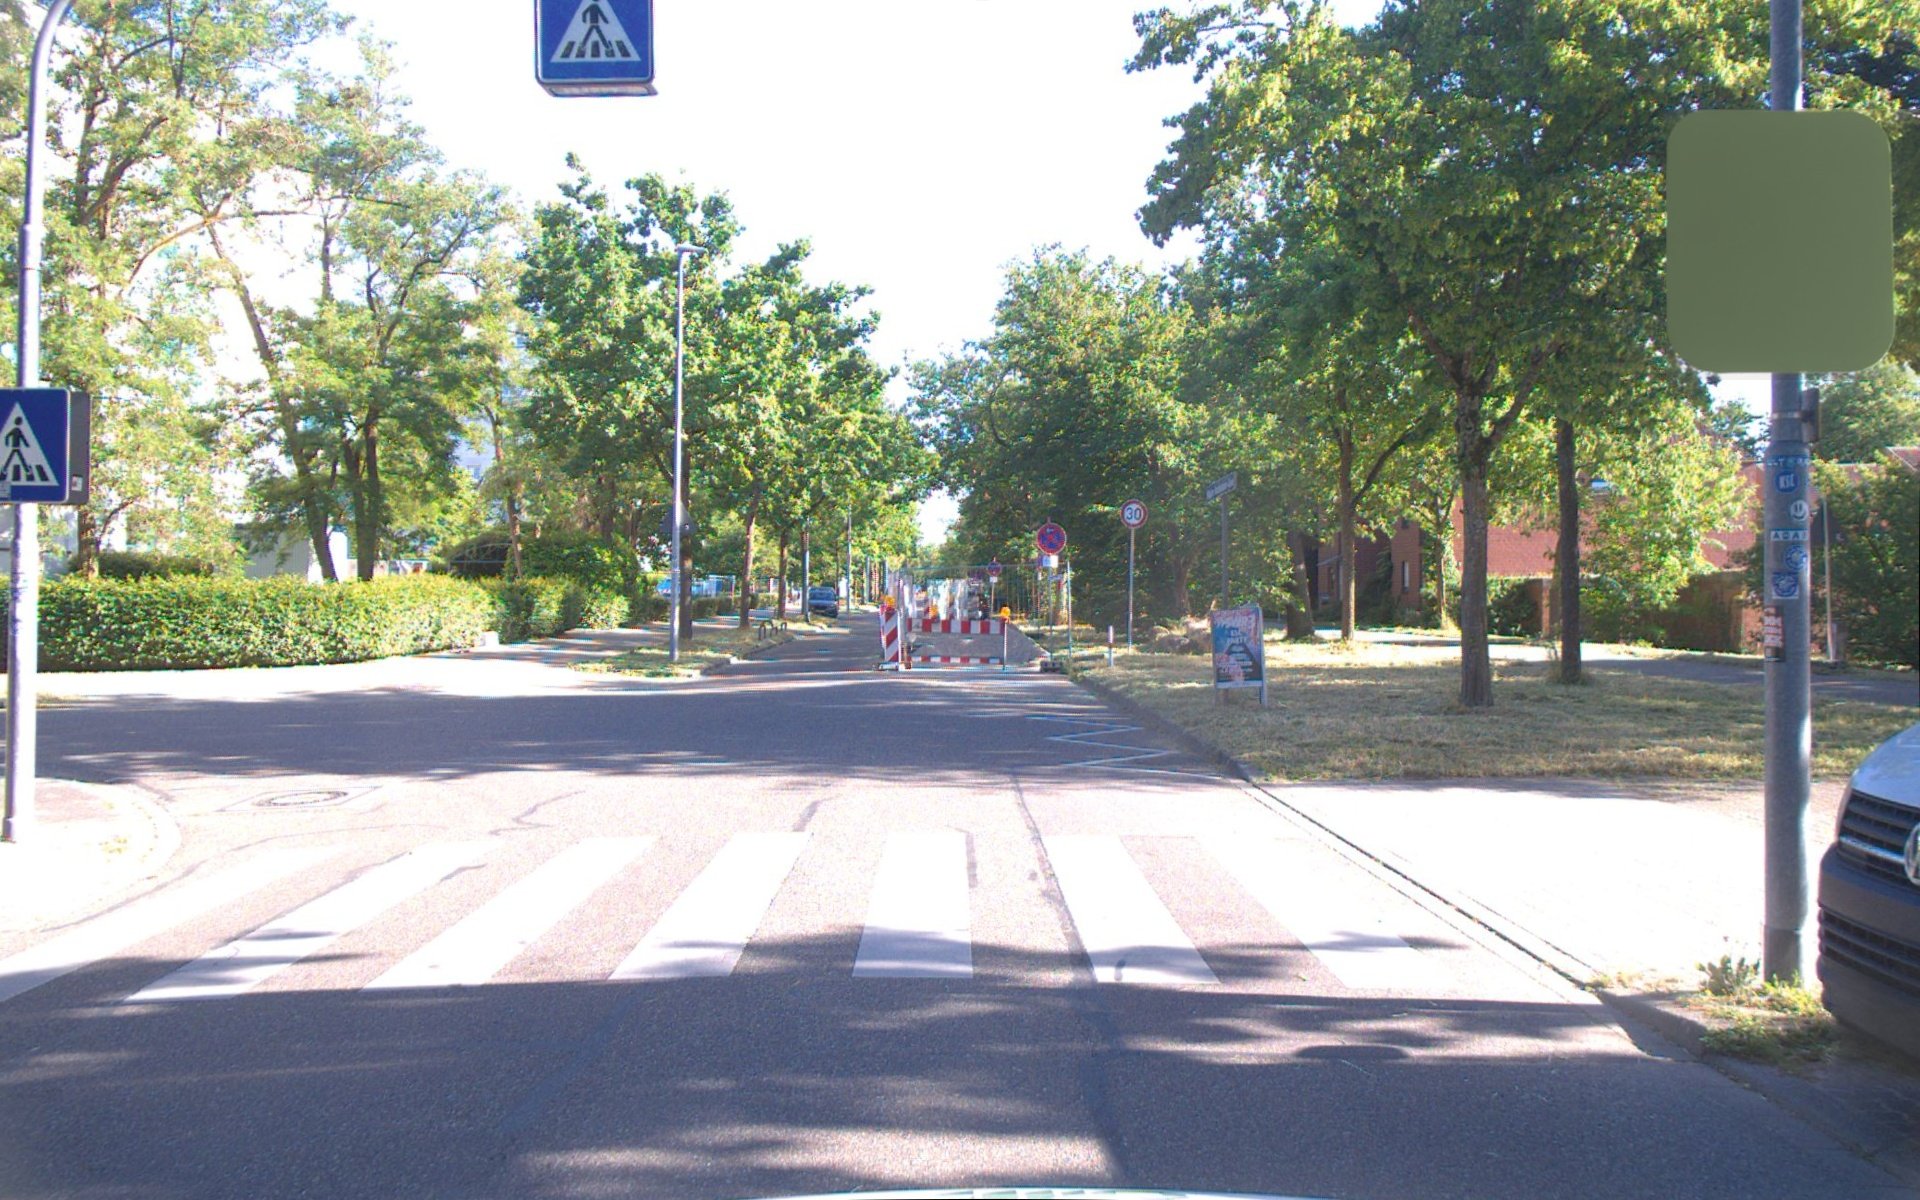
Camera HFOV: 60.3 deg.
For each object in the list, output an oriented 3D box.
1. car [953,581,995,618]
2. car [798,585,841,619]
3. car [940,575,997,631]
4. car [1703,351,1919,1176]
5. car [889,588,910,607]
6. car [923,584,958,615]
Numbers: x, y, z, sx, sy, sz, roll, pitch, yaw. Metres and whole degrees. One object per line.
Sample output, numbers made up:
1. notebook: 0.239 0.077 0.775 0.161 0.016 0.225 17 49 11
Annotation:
1. car: 0.662 -0.042 81.195 1.953 1.746 3.999 1 0 -1
2. car: -7.388 0.086 87.270 1.953 1.746 3.999 1 0 -1
3. car: 0.261 0.098 60.378 1.953 1.967 3.999 1 0 -1
4. car: 5.024 0.405 4.505 5.083 2.142 2.081 -1 0 -3
5. car: -5.795 -0.260 159.710 1.953 1.746 3.999 0 0 -1
6. car: -1.170 -0.054 96.914 1.953 1.746 3.999 1 0 -1
